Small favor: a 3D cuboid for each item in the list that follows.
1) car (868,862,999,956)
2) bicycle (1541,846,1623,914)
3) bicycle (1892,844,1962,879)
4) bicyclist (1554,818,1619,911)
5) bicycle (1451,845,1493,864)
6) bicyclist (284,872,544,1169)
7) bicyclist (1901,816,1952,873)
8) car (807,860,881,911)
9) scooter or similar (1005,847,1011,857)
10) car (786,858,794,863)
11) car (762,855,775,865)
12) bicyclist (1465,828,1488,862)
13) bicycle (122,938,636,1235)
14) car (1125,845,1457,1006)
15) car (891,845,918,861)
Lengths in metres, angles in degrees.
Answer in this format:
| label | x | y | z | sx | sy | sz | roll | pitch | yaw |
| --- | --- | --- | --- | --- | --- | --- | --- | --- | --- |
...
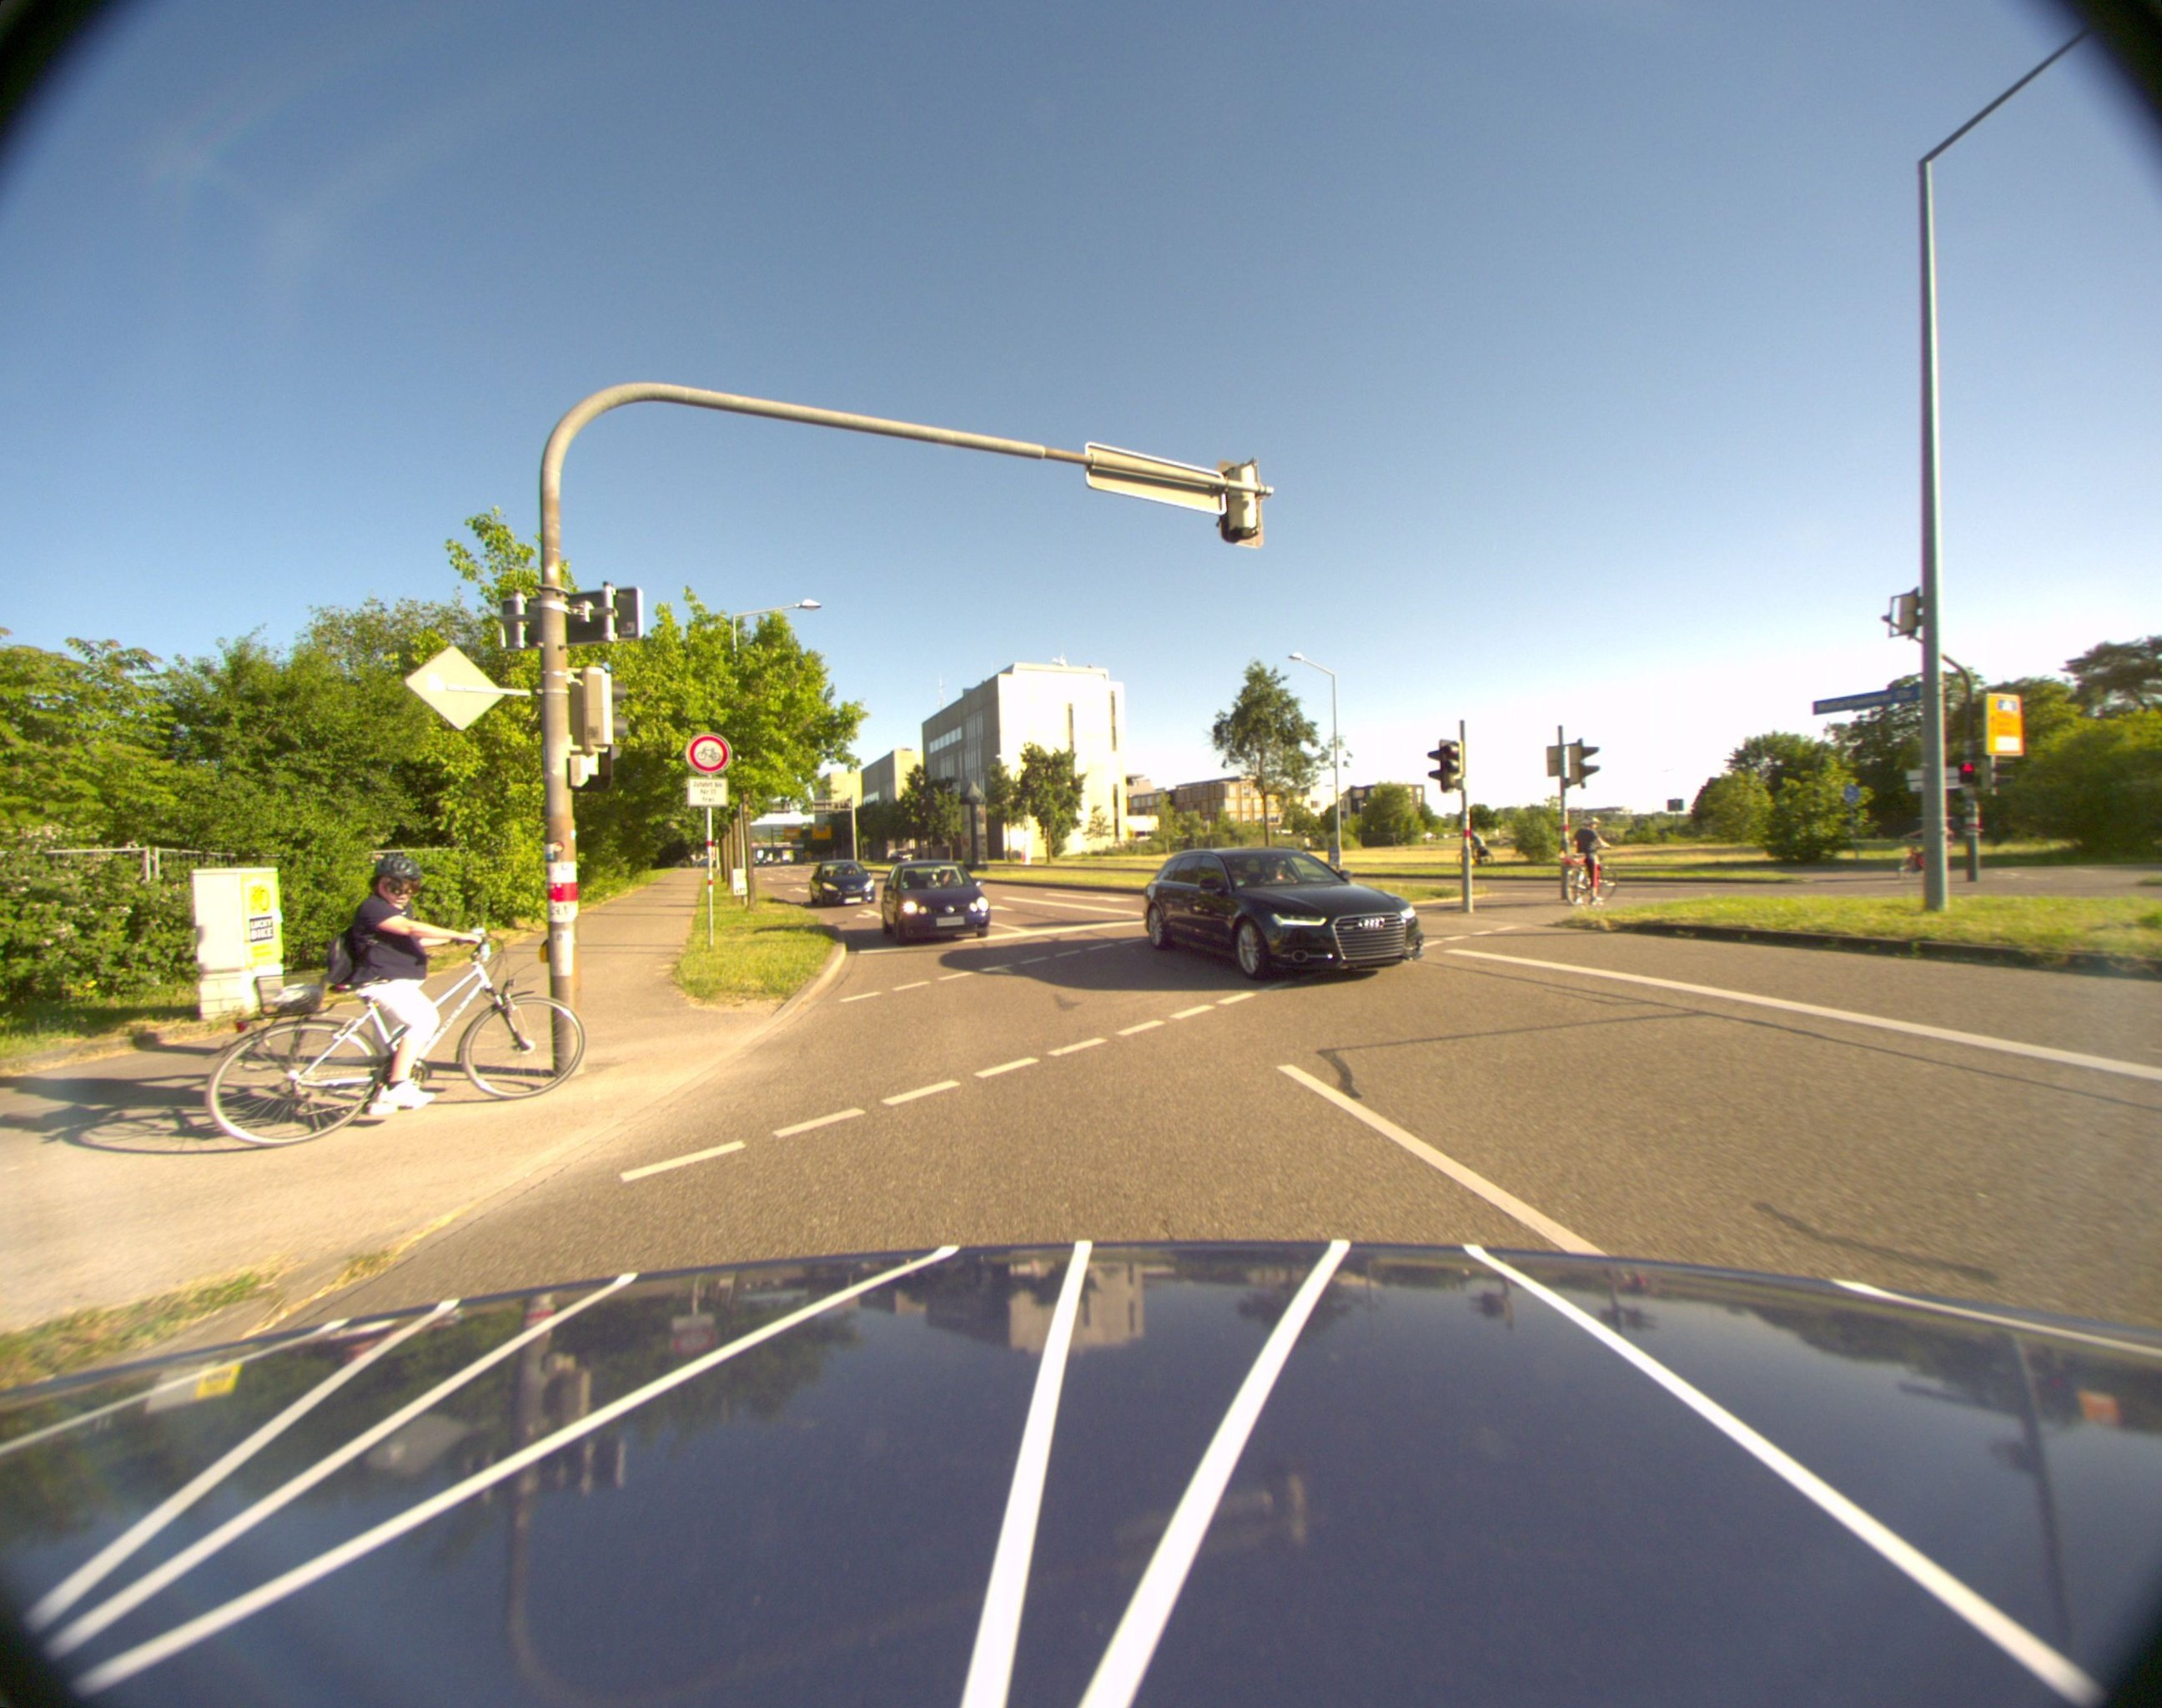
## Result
| label | x | y | z | sx | sy | sz | roll | pitch | yaw |
| --- | --- | --- | --- | --- | --- | --- | --- | --- | --- |
| car | -3.060 | 0.934 | 14.965 | 1.640 | 1.459 | 4.537 | -3 | 1 | -22 |
| bicycle | 9.326 | 0.448 | 14.121 | 1.658 | 1.122 | 0.702 | -4 | 3 | -35 |
| bicycle | 23.260 | 0.195 | 20.885 | 1.890 | 0.847 | 0.616 | -2 | 1 | -19 |
| bicyclist | 9.474 | 0.170 | 14.233 | 0.944 | 1.654 | 0.702 | -4 | 3 | -35 |
| bicycle | 18.352 | 0.040 | 35.682 | 0.492 | 0.847 | 1.885 | -3 | 1 | -21 |
| bicyclist | -4.193 | 0.920 | 4.803 | 0.874 | 1.553 | 1.090 | 1 | 2 | 41 |
| bicyclist | 23.195 | -0.264 | 20.853 | 0.926 | 1.508 | 0.616 | -3 | 1 | -19 |
| car | -8.184 | 0.996 | 26.038 | 1.760 | 1.446 | 3.991 | -5 | 2 | -26 |
| scooter or similar | -8.455 | -0.265 | 88.202 | 0.454 | 1.104 | 1.404 | -2 | 1 | -12 |
| car | -88.799 | 1.956 | 231.753 | 2.002 | 1.569 | 3.991 | -3 | 1 | -26 |
| car | -55.870 | 1.036 | 135.881 | 2.002 | 1.678 | 3.992 | -2 | 1 | -22 |
| bicyclist | 18.423 | -0.406 | 35.433 | 0.433 | 1.555 | 0.850 | -3 | 1 | -21 |
| bicycle | -4.200 | 1.249 | 4.792 | 0.874 | 1.148 | 2.221 | 1 | 2 | 41 |
| car | 2.250 | 0.689 | 9.865 | 1.799 | 1.435 | 5.010 | -3 | 1 | -15 |
| car | -20.820 | -0.109 | 89.728 | 2.002 | 1.729 | 4.727 | -3 | 2 | -26 |
